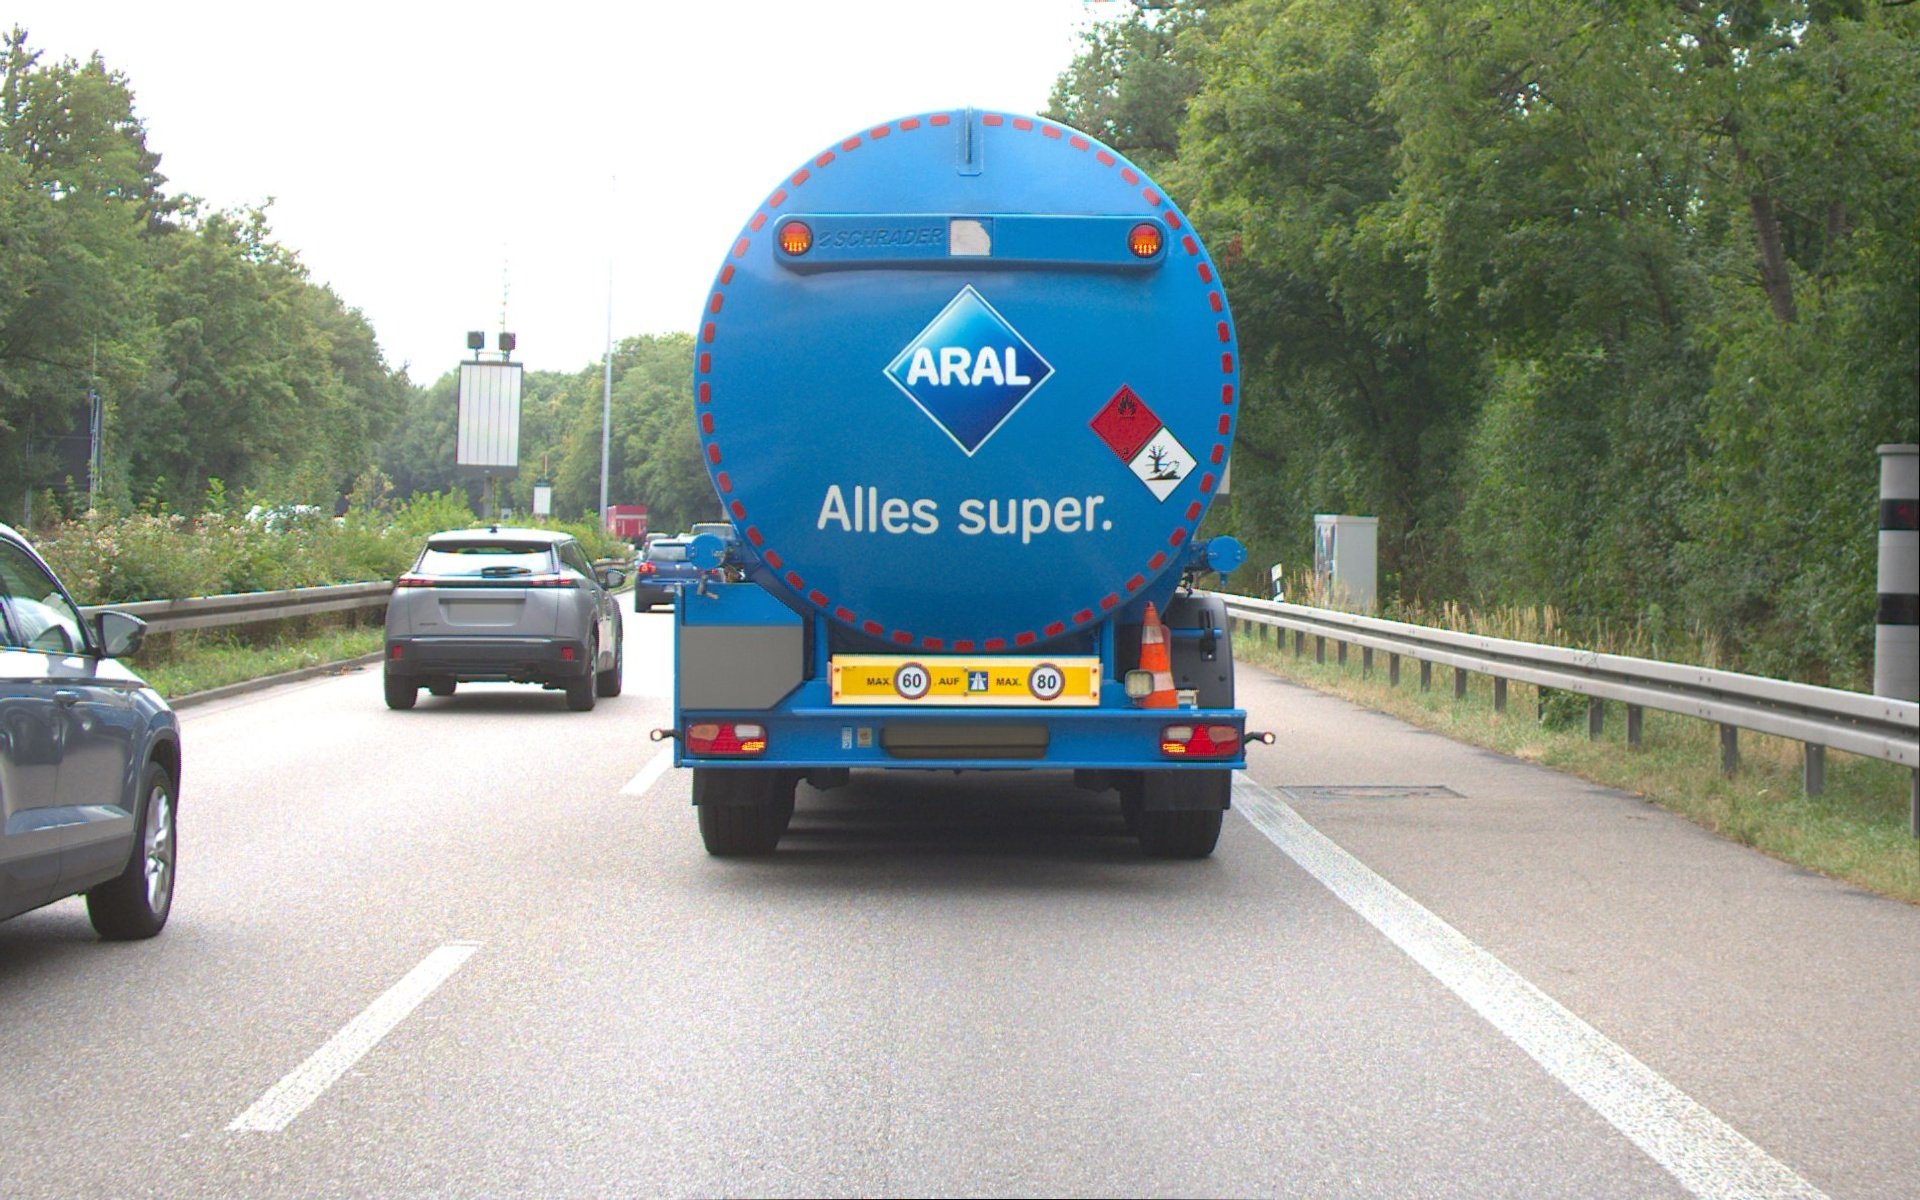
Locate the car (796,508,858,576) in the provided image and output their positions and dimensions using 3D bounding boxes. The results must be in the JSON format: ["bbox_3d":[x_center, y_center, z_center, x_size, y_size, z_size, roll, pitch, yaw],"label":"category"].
[{"bbox_3d":[-4.480,-1.938,116.417,1.993,2.237,4.000,1,1,-1],"label":"car"}]

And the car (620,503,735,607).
[{"bbox_3d":[-5.663,-0.907,69.321,1.993,2.007,4.000,1,1,-1],"label":"car"}]

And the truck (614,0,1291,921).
[{"bbox_3d":[-0.076,-0.643,18.091,2.755,3.833,7.689,1,1,-1],"label":"truck"}]

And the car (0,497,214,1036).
[{"bbox_3d":[-3.770,0.474,11.144,1.826,1.604,4.167,1,1,-1],"label":"car"}]

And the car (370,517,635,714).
[{"bbox_3d":[-3.985,0.108,30.536,1.826,1.604,4.167,1,1,-1],"label":"car"}]

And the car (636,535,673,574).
[{"bbox_3d":[-17.945,-2.684,201.764,1.993,2.237,4.001,1,1,-8],"label":"car"}]

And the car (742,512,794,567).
[{"bbox_3d":[-8.076,-2.535,144.777,1.993,2.237,4.000,1,1,-1],"label":"car"}]
